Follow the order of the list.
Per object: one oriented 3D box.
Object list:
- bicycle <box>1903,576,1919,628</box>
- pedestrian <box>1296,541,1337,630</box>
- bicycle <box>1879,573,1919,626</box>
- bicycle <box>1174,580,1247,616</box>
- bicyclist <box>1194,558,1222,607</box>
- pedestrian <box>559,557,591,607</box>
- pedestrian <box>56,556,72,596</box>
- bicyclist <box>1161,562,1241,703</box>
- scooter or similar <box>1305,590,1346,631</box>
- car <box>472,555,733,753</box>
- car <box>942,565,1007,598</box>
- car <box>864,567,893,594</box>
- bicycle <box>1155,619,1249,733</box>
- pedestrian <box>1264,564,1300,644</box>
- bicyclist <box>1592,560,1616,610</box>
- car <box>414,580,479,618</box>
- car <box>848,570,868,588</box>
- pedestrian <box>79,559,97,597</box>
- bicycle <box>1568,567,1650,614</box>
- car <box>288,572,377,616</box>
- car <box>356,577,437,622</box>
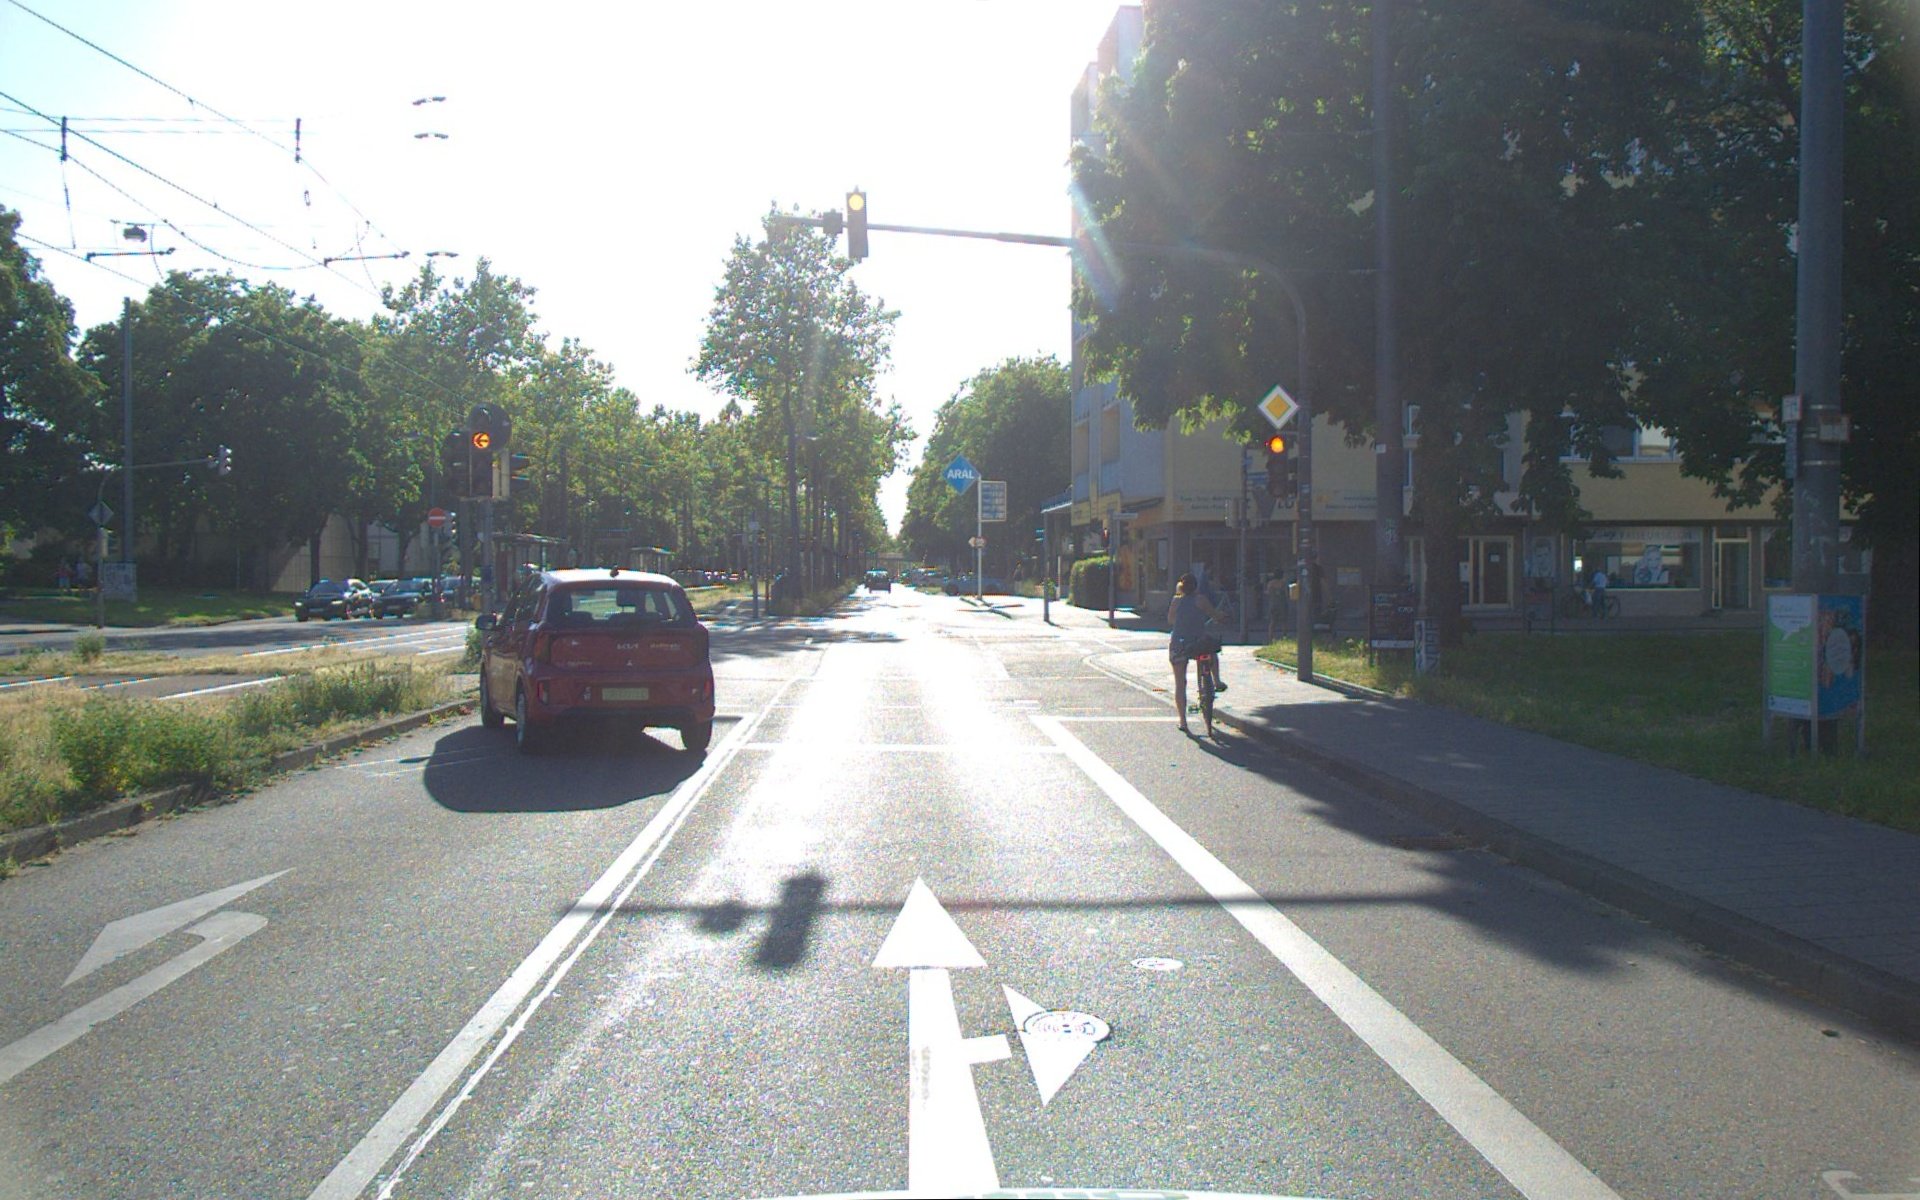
[{"bbox_3d":[19.722,0.065,32.959,0.585,1.052,2.006,2,1,-3],"label":"bicycle"},{"bbox_3d":[7.018,-0.280,32.592,0.714,1.711,0.533,2,1,10],"label":"pedestrian"},{"bbox_3d":[19.098,-0.006,32.851,0.585,1.052,1.795,2,1,-3],"label":"bicycle"},{"bbox_3d":[7.777,-0.069,51.353,2.203,1.004,0.790,1,6,13],"label":"bicycle"},{"bbox_3d":[7.717,-0.545,51.382,0.752,1.496,0.899,-1,2,14],"label":"bicyclist"},{"bbox_3d":[-12.736,-0.595,54.667,0.873,1.634,0.613,2,1,-3],"label":"pedestrian"},{"bbox_3d":[-36.346,-0.965,67.077,0.427,1.587,0.305,2,1,-7],"label":"pedestrian"},{"bbox_3d":[2.394,0.307,16.495,0.625,1.346,0.803,2,1,0],"label":"bicyclist"},{"bbox_3d":[7.046,0.192,31.942,0.586,0.750,0.681,2,1,-3],"label":"scooter or similar"},{"bbox_3d":[-3.342,0.394,14.972,1.671,1.534,3.674,1,1,-22],"label":"car"},{"bbox_3d":[0.942,-1.175,105.517,3.902,1.892,2.013,2,1,8],"label":"car"},{"bbox_3d":[-5.992,-1.458,120.976,1.930,1.892,3.997,2,1,-4],"label":"car"},{"bbox_3d":[2.375,0.723,16.404,0.635,0.989,1.804,2,1,0],"label":"bicycle"},{"bbox_3d":[6.366,0.073,32.688,0.633,1.549,0.496,2,1,10],"label":"pedestrian"},{"bbox_3d":[20.705,-0.476,53.183,0.517,1.594,0.464,2,1,-5],"label":"bicyclist"},{"bbox_3d":[-21.039,-0.059,67.866,1.535,1.426,3.913,2,1,-3],"label":"car"},{"bbox_3d":[-9.832,-2.076,159.376,1.856,1.639,4.497,2,1,-4],"label":"car"},{"bbox_3d":[-35.450,-0.886,67.248,0.427,1.533,0.488,2,1,-7],"label":"pedestrian"},{"bbox_3d":[21.098,-0.314,53.758,2.421,1.423,0.608,2,1,-4],"label":"bicycle"},{"bbox_3d":[-23.213,-0.263,61.312,1.770,1.559,4.359,0,1,-3],"label":"car"},{"bbox_3d":[-20.782,-0.042,61.188,1.653,1.559,4.359,0,1,-2],"label":"car"}]
